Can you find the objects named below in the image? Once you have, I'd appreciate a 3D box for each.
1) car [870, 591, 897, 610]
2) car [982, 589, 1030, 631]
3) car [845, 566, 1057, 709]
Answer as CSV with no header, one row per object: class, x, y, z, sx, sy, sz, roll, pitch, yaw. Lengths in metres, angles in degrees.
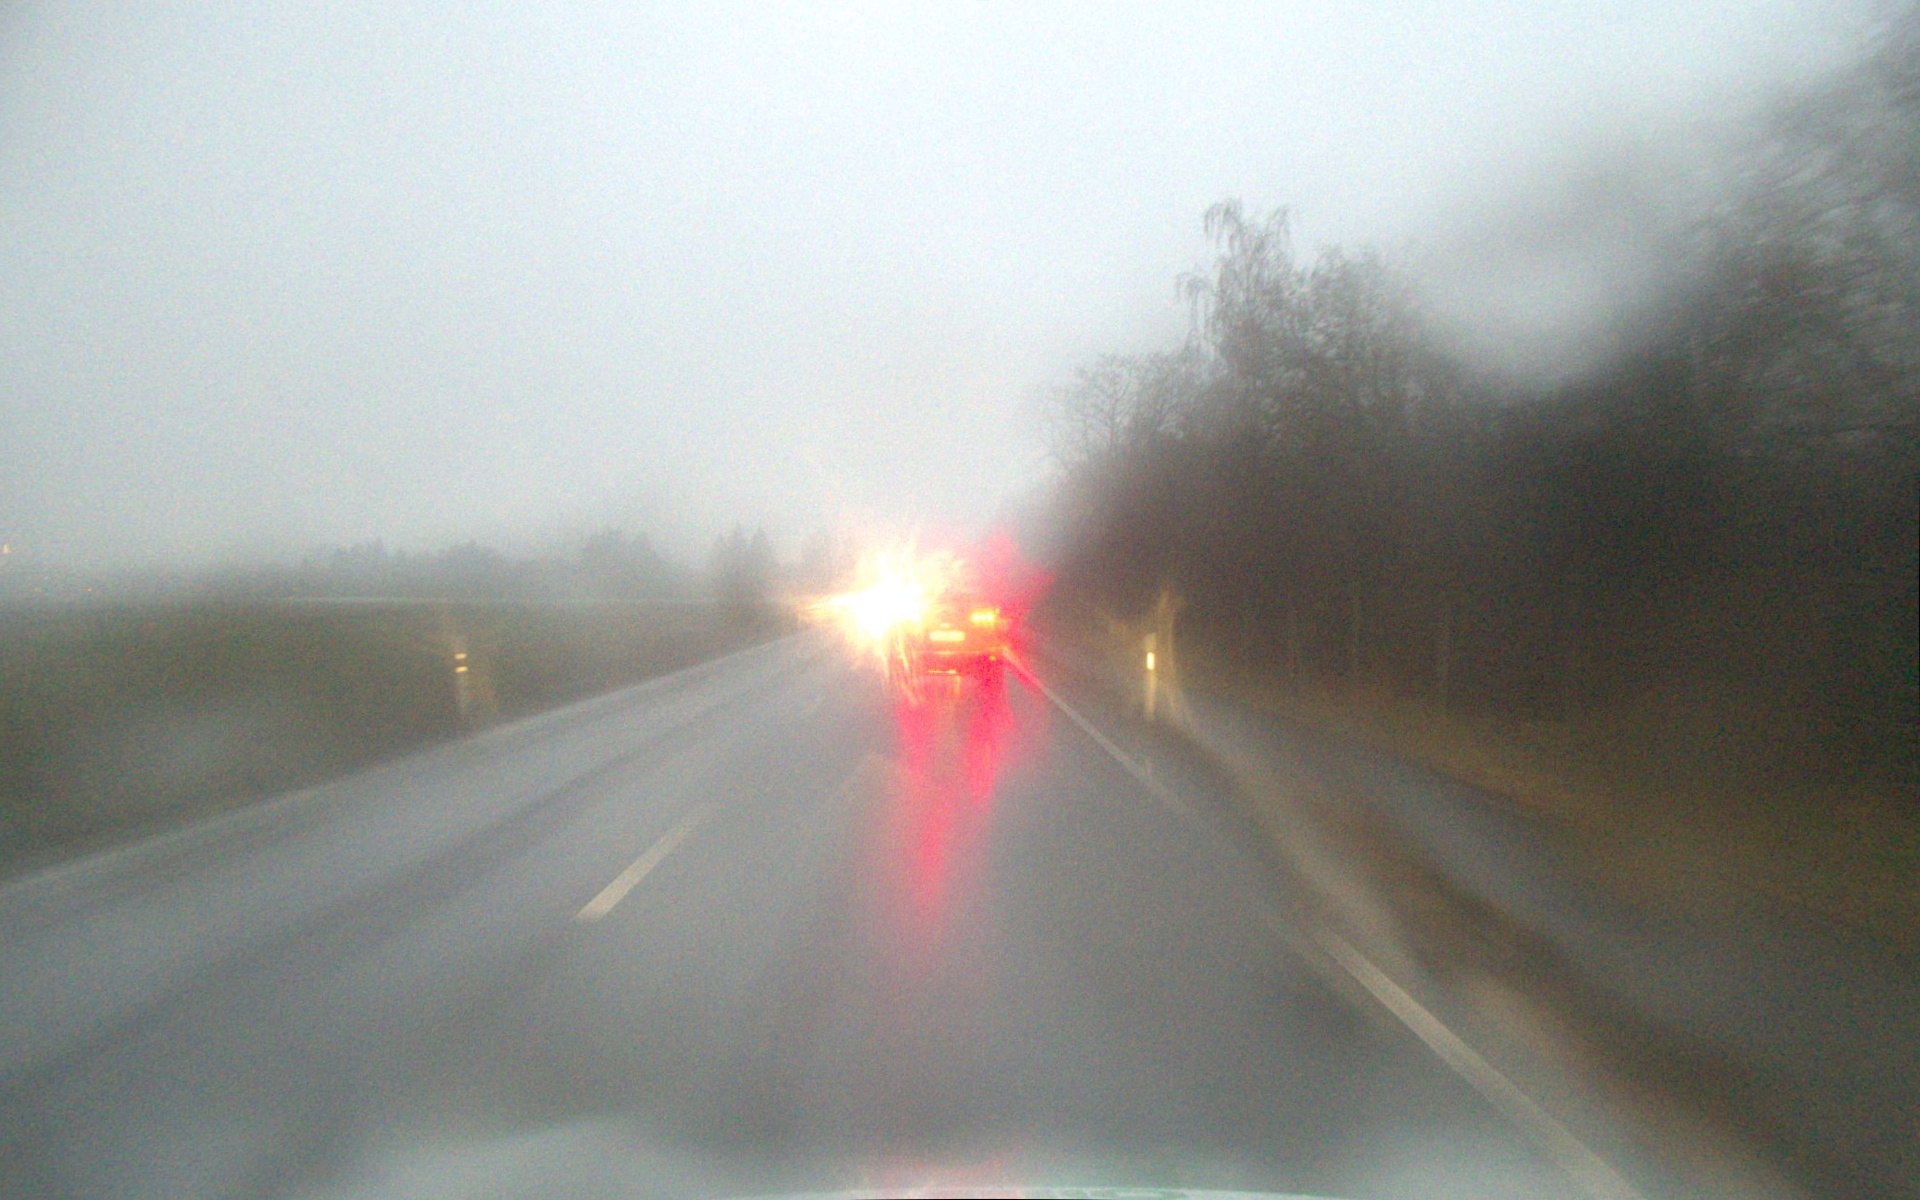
car,-5.804,0.063,125.920,1.953,1.396,4.397,1,0,-1
car,1.967,0.430,72.351,1.889,1.780,3.999,1,0,-1
car,-0.179,0.525,27.644,3.100,2.071,6.850,0,0,-1
